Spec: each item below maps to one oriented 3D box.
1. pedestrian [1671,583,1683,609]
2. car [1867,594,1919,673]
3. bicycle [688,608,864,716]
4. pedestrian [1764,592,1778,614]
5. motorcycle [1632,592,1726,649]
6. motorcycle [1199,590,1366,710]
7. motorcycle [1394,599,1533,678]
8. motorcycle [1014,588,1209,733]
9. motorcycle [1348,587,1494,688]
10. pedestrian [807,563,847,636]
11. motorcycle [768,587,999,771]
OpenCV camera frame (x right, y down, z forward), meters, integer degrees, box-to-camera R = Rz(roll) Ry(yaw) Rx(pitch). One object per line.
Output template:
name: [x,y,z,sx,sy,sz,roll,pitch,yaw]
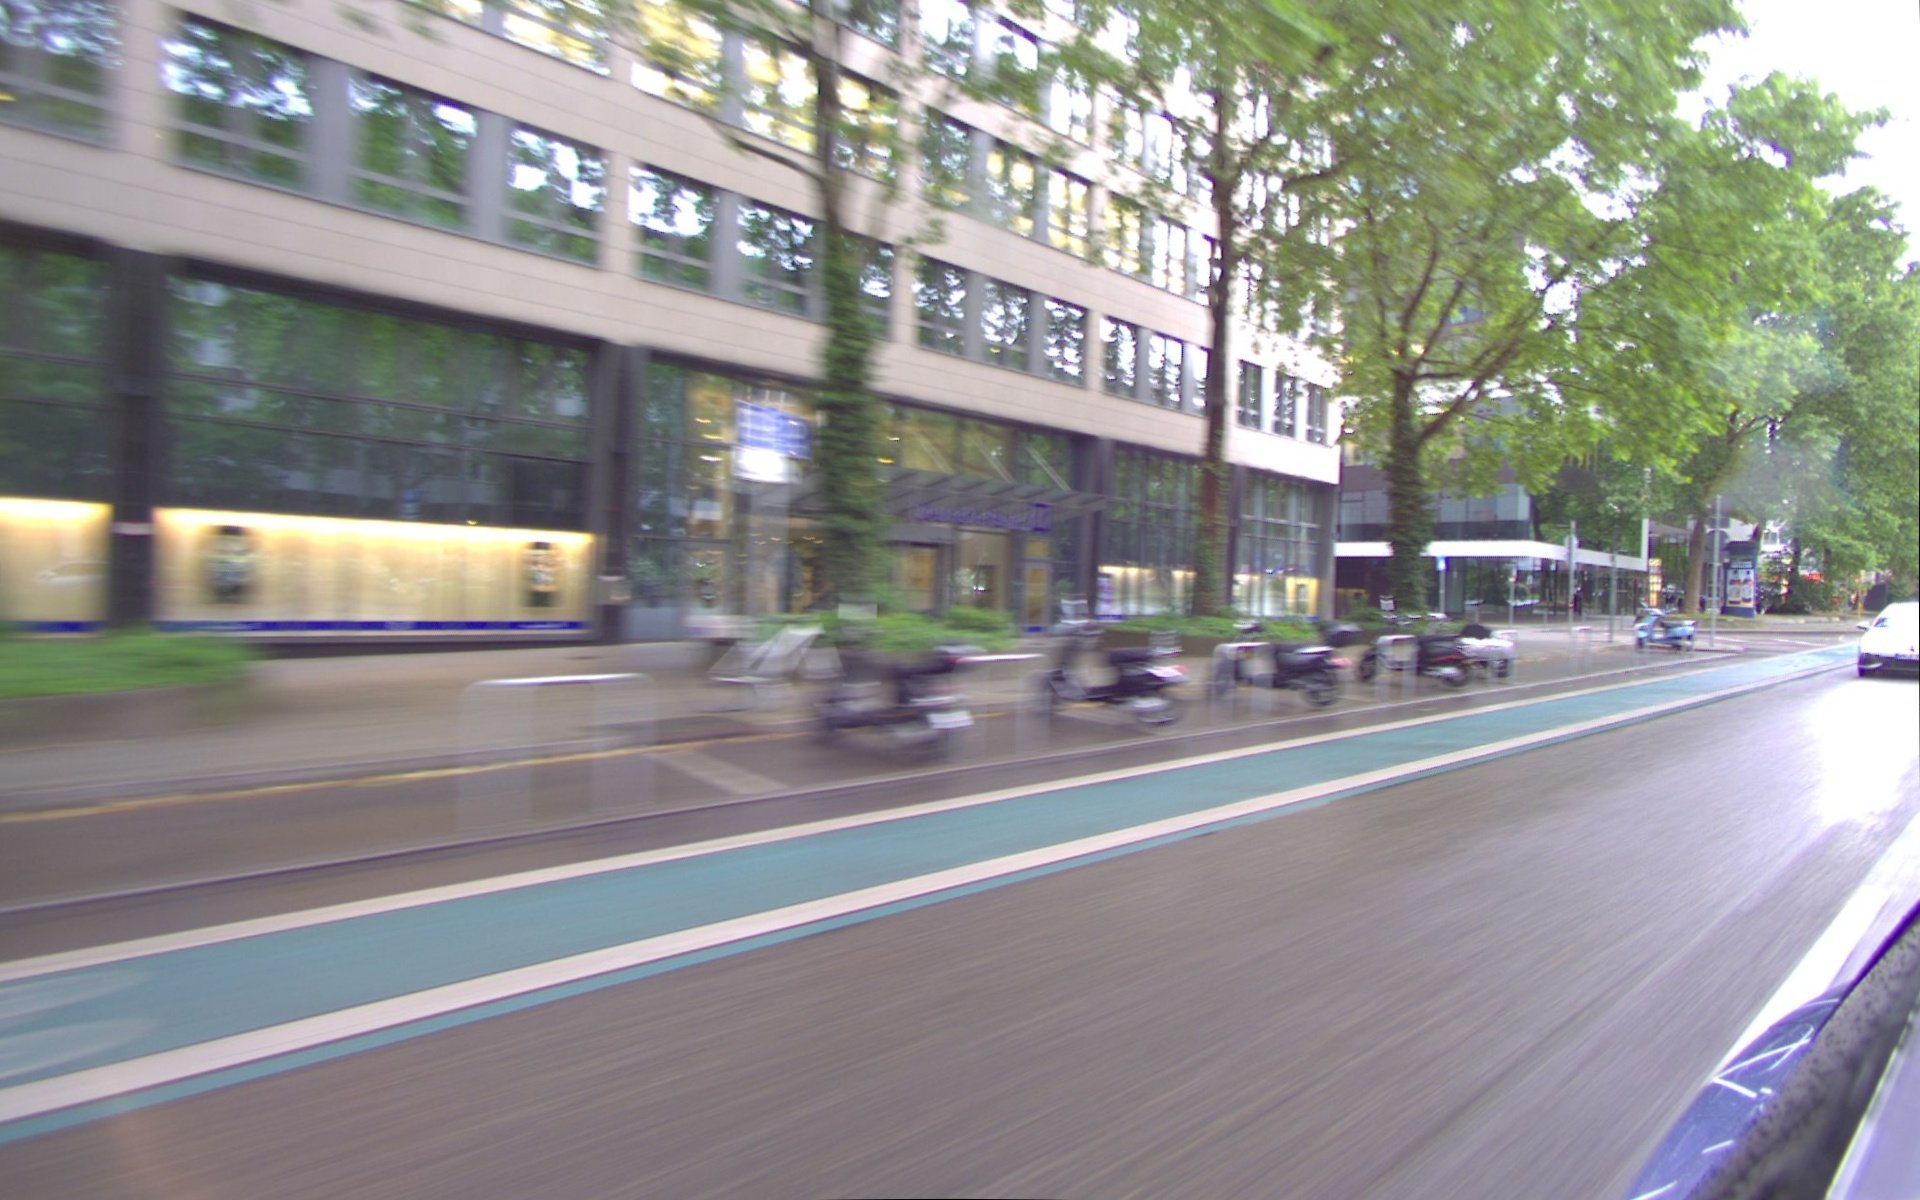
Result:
pedestrian: [52.334,-0.289,73.894,0.692,1.881,0.523,-2,4,-41]
car: [19.519,0.617,20.091,3.727,1.490,1.794,0,0,-41]
bicycle: [-1.890,0.614,10.429,1.726,1.041,0.640,0,0,-12]
pedestrian: [57.999,0.202,72.387,0.987,1.524,0.588,0,1,-41]
motorcycle: [18.945,0.527,26.693,1.908,1.383,0.685,2,3,0]
motorcycle: [4.209,0.611,13.236,1.944,1.391,0.722,3,1,28]
motorcycle: [8.865,0.661,17.890,2.030,1.227,0.682,3,3,14]
motorcycle: [1.649,0.616,11.086,1.944,1.391,0.722,3,1,28]
motorcycle: [7.368,0.567,16.205,2.041,1.446,0.722,3,1,28]
pedestrian: [-3.185,-0.018,24.305,0.813,1.714,0.729,2,1,2]
motorcycle: [-0.703,0.625,8.888,1.948,1.391,0.720,3,1,34]
